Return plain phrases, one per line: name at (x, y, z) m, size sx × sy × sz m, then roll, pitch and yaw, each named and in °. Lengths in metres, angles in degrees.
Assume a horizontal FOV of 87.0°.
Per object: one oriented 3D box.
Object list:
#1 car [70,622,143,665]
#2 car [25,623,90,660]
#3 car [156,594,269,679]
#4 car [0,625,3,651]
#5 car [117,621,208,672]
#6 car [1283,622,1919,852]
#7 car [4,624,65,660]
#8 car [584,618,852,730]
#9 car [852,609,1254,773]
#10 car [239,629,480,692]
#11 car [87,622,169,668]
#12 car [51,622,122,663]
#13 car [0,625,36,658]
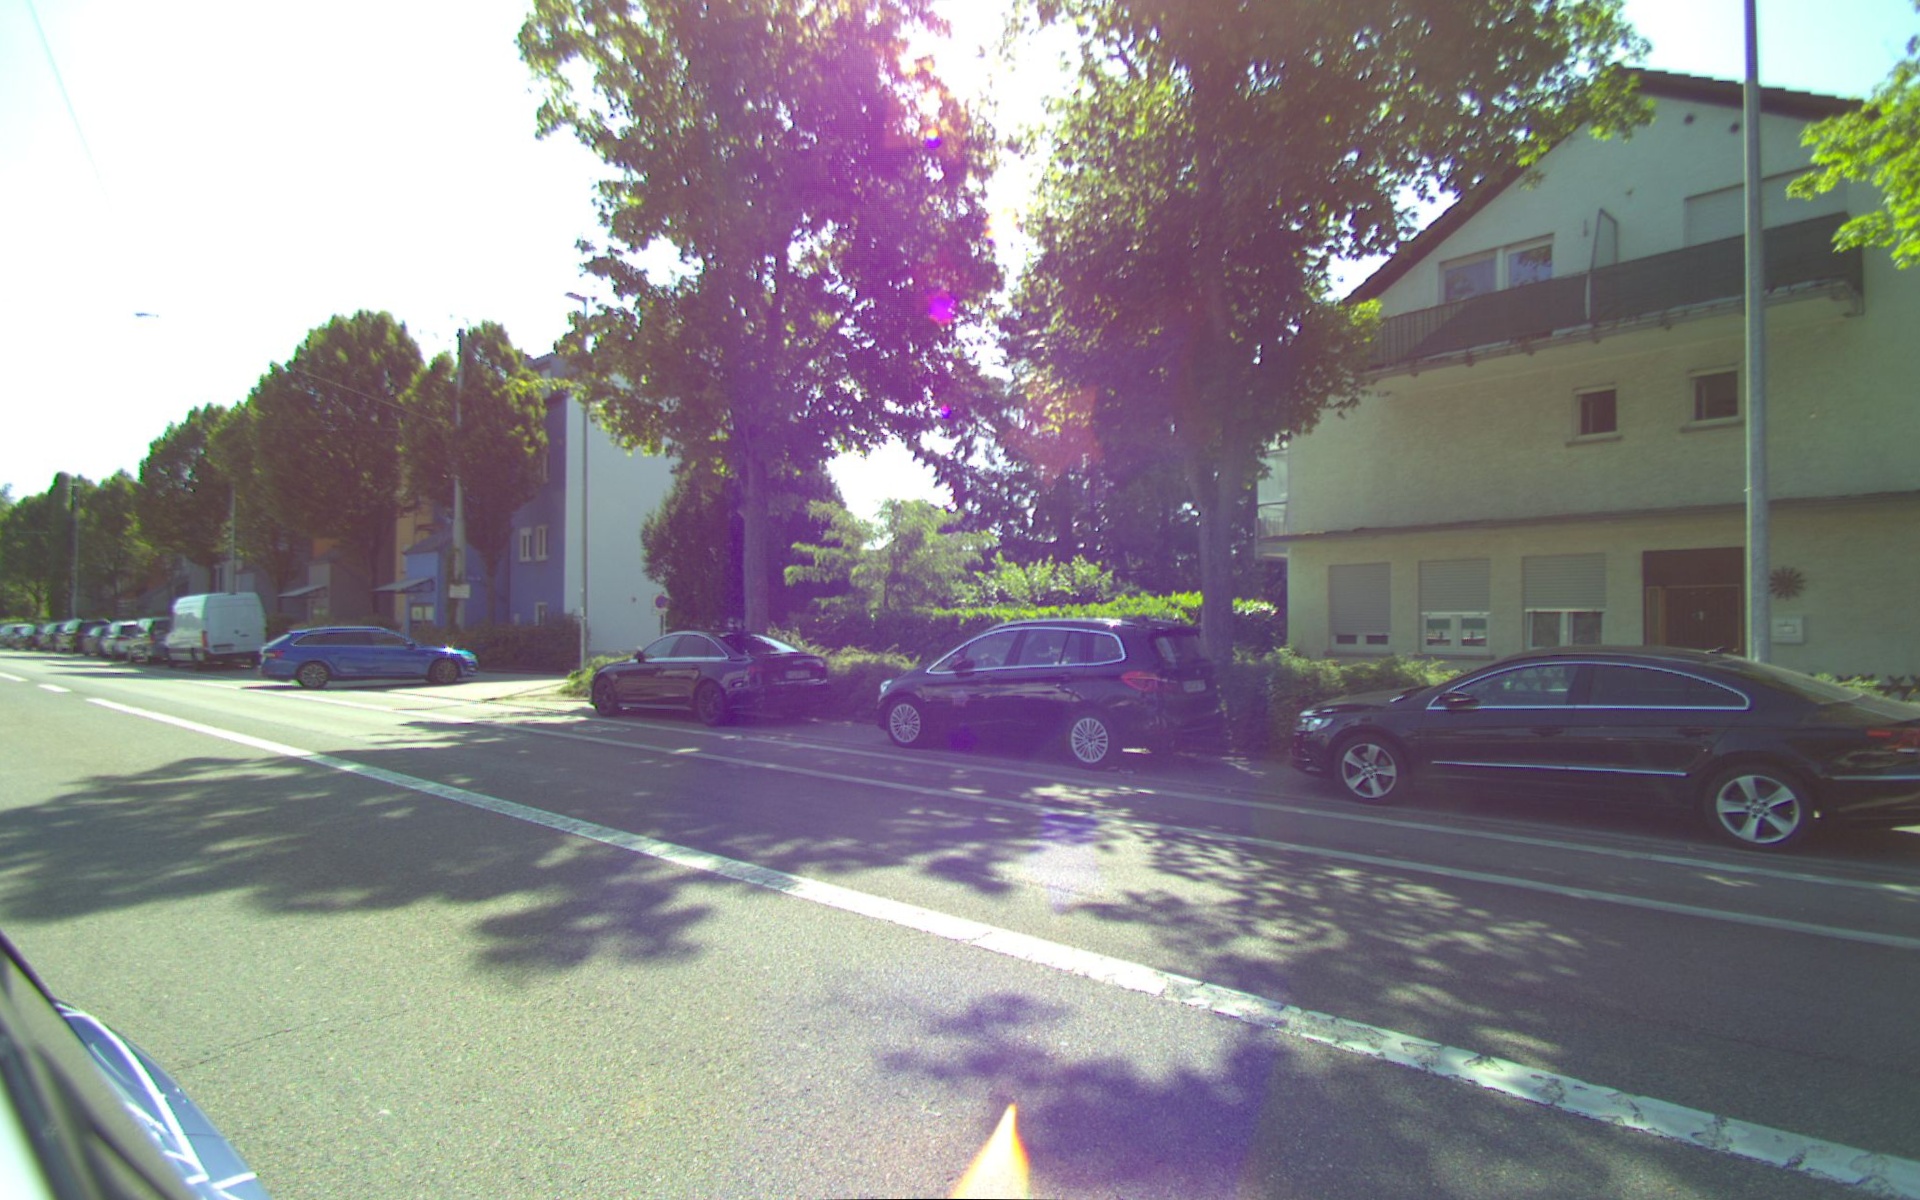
car at (-42.136, 2.111, 49.947) m, size 4.253 × 1.818 × 1.974 m, roll -2°, pitch 3°, yaw 40°
car at (-50.379, 2.301, 56.465) m, size 4.766 × 1.818 × 1.974 m, roll -2°, pitch 3°, yaw 40°
car at (-27.327, 1.278, 36.884) m, size 6.213 × 2.713 × 1.973 m, roll -2°, pitch 4°, yaw 42°
car at (-68.822, 2.756, 70.912) m, size 4.766 × 1.818 × 1.974 m, roll -2°, pitch 3°, yaw 40°
car at (-33.493, 1.920, 42.451) m, size 4.766 × 1.818 × 1.974 m, roll -2°, pitch 3°, yaw 40°
car at (5.323, 0.939, 8.490) m, size 4.619 × 1.426 × 1.844 m, roll -2°, pitch 0°, yaw 41°
car at (-54.935, 2.479, 60.030) m, size 4.766 × 1.818 × 1.974 m, roll -2°, pitch 3°, yaw 40°
car at (-4.042, 1.107, 16.531) m, size 4.616 × 1.583 × 1.845 m, roll -1°, pitch -2°, yaw 39°
car at (0.965, 0.956, 12.255) m, size 4.619 × 1.583 × 1.844 m, roll -2°, pitch 0°, yaw 41°
car at (-14.846, 1.459, 25.239) m, size 4.989 × 1.441 × 1.896 m, roll 2°, pitch -3°, yaw -33°
car at (-38.059, 2.044, 46.279) m, size 4.766 × 1.818 × 1.974 m, roll -2°, pitch 3°, yaw 40°
car at (-45.807, 2.204, 53.050) m, size 4.766 × 1.818 × 1.974 m, roll -2°, pitch 3°, yaw 40°
car at (-60.291, 2.632, 64.024) m, size 4.766 × 1.818 × 1.974 m, roll -2°, pitch 3°, yaw 40°
